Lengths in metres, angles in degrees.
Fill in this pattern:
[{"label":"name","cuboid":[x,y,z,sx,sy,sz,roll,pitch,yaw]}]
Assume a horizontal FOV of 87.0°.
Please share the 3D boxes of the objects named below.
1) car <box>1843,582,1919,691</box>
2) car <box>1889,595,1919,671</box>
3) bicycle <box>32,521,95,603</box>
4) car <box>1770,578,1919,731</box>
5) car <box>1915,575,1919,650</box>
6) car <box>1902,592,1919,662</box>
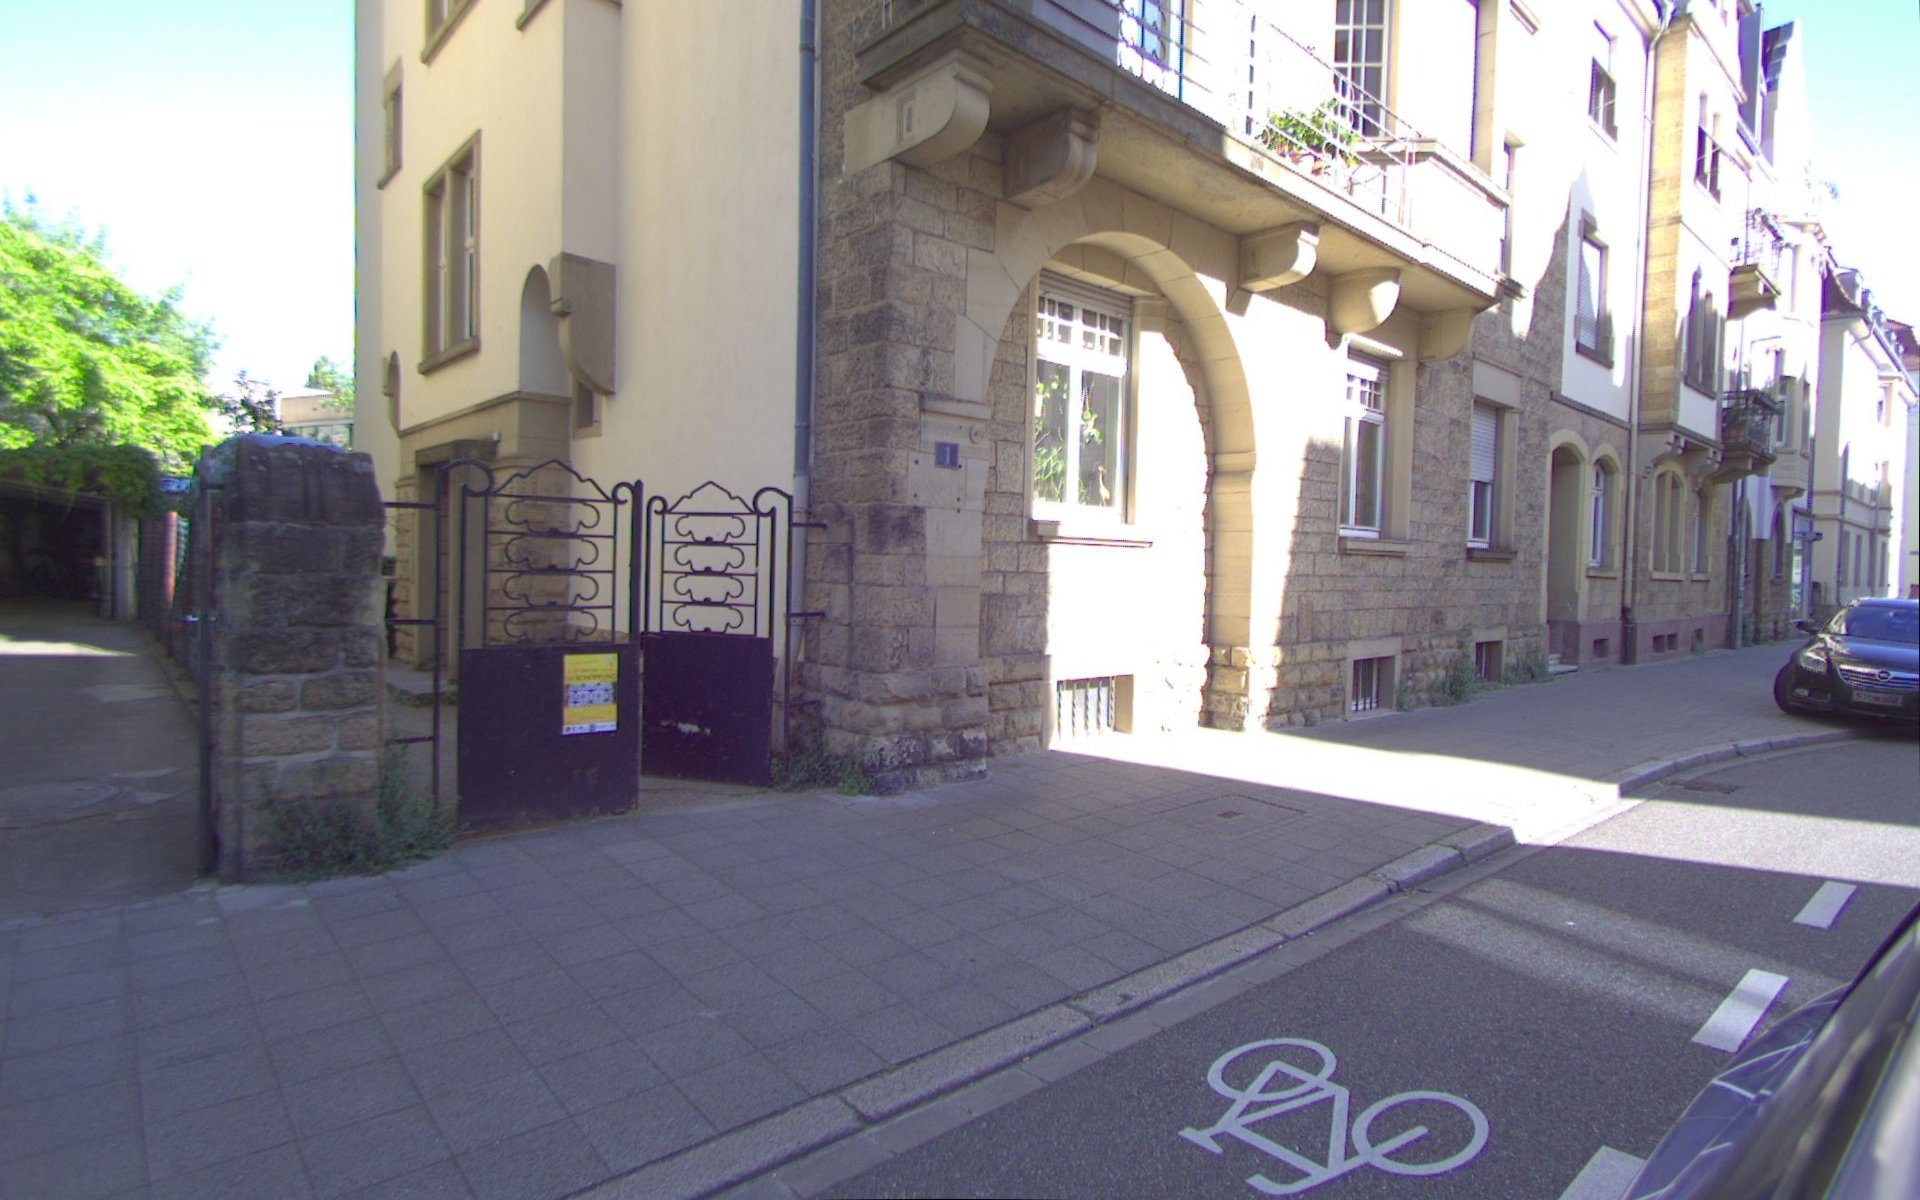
[{"label":"car","cuboid":[15.519,0.570,15.860,4.247,1.527,2.004,0,3,-42]},{"label":"car","cuboid":[18.782,0.624,18.964,3.667,1.295,1.659,-1,4,-42]},{"label":"bicycle","cuboid":[-18.314,-0.810,20.716,0.903,1.530,2.672,0,4,-41]},{"label":"car","cuboid":[11.489,0.573,12.175,4.043,1.526,2.023,-1,5,-42]},{"label":"car","cuboid":[26.221,0.342,26.043,4.247,1.860,2.004,-1,4,-42]},{"label":"car","cuboid":[22.158,0.587,22.186,4.247,1.440,1.823,-1,4,-42]}]
